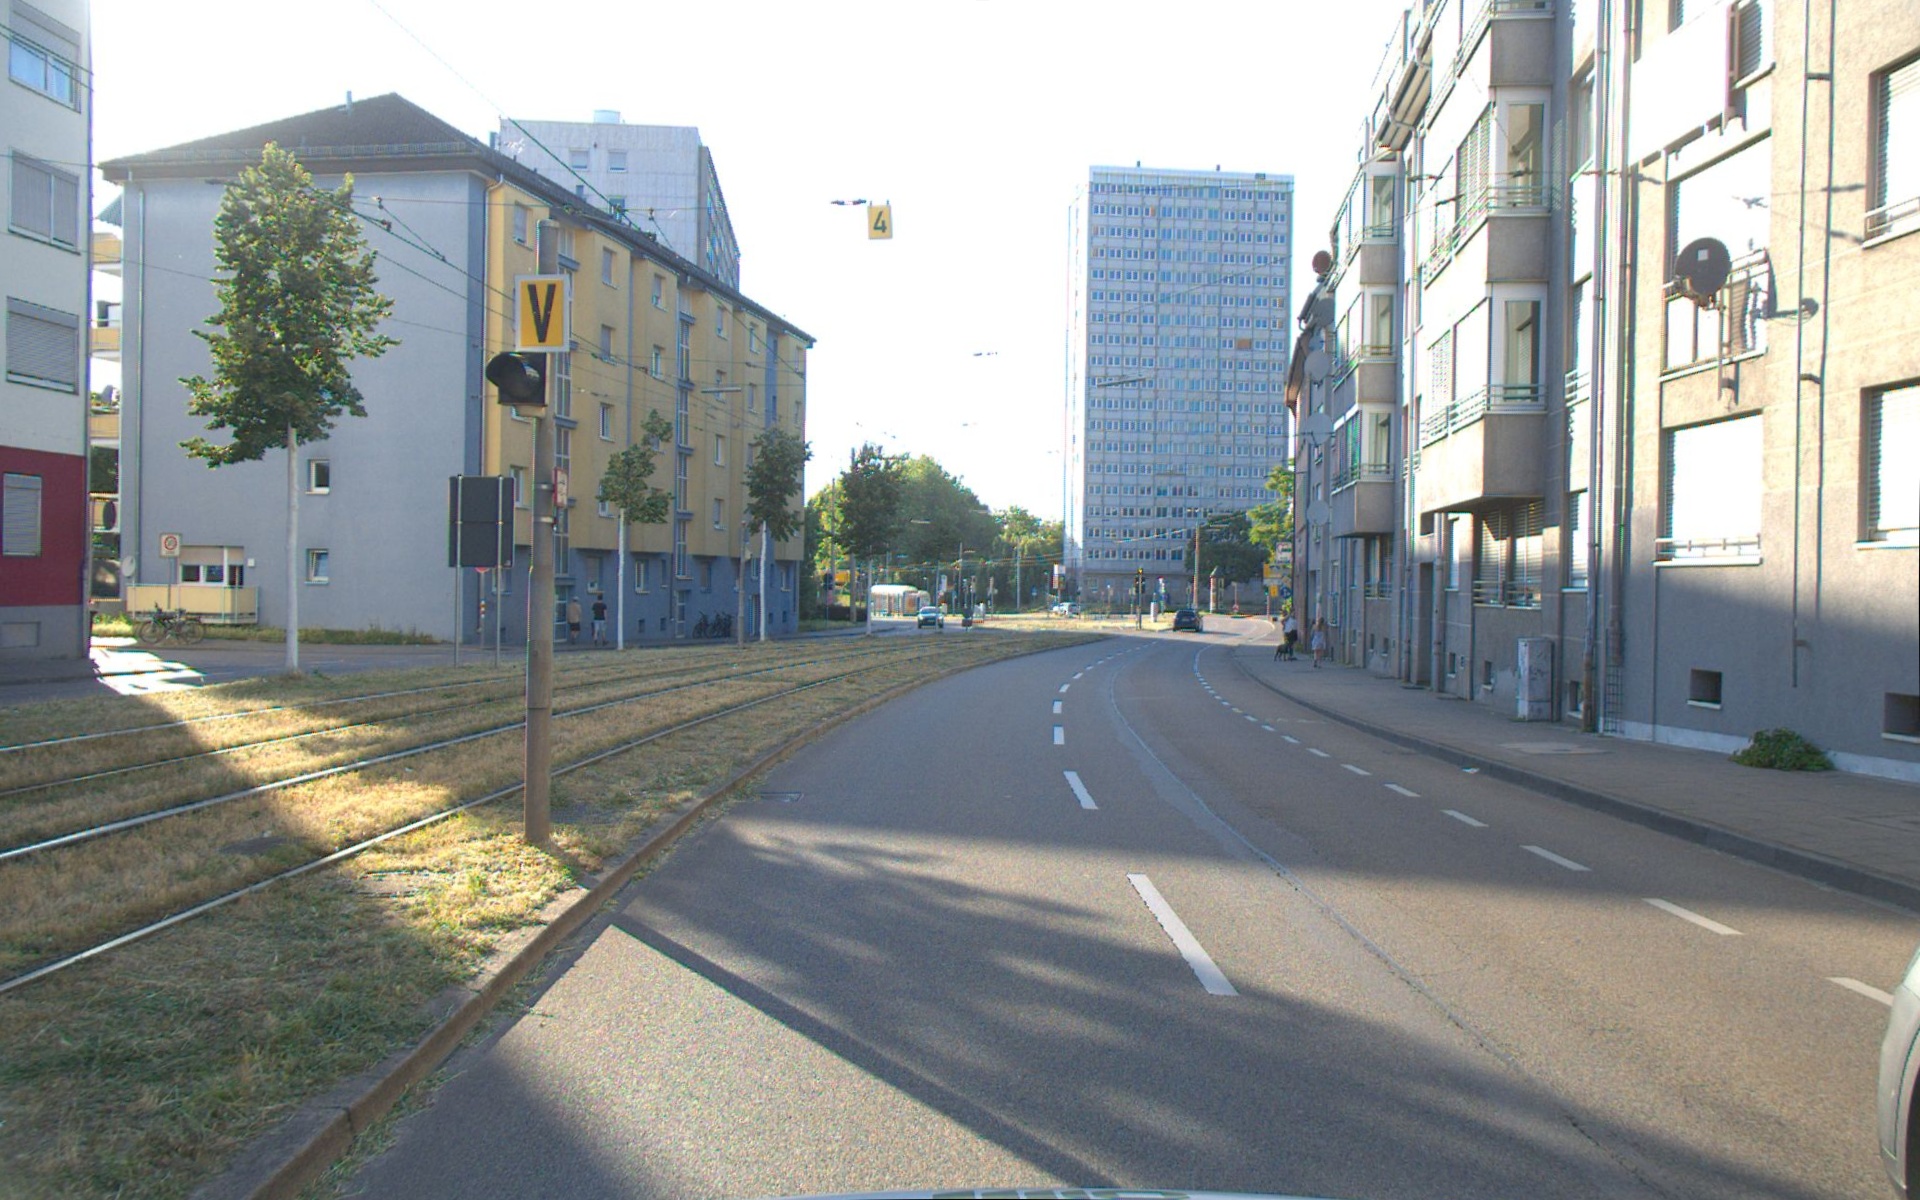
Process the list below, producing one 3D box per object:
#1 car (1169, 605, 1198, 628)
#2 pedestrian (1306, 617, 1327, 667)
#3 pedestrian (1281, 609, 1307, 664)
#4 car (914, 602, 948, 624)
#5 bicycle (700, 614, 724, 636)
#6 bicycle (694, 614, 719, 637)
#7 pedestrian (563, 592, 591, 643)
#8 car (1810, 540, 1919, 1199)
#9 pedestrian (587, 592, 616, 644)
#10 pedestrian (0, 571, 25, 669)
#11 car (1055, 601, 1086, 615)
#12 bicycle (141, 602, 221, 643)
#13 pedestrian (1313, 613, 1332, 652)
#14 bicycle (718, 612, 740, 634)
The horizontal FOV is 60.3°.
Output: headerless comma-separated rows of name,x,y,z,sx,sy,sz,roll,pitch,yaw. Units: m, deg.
car,14.743,1.096,109.121,1.734,1.447,3.859,0,0,10
pedestrian,9.717,1.143,45.080,0.503,1.368,0.609,0,-1,5
pedestrian,11.039,1.200,54.696,0.812,1.803,0.997,0,0,9
car,-2.044,0.956,118.271,1.755,1.495,4.799,-1,-1,8
bicycle,-11.117,1.109,74.287,0.418,0.941,1.913,4,0,10
bicycle,-11.185,1.122,73.007,0.418,0.941,1.913,4,0,10
pedestrian,-13.531,0.612,58.439,0.603,1.723,0.707,5,1,8
car,2.866,0.718,1.826,1.730,1.615,4.068,1,1,0
pedestrian,-12.723,0.631,58.763,0.580,1.803,0.886,5,1,8
pedestrian,-17.111,0.340,29.273,0.600,1.719,0.792,1,0,3
car,12.633,0.944,189.690,1.968,1.557,3.969,1,0,-24
bicycle,-21.738,0.633,46.180,1.918,1.094,0.602,1,0,-9
pedestrian,11.952,1.079,54.518,0.575,1.273,0.585,0,0,9
bicycle,-10.699,1.059,76.764,0.418,0.976,1.913,1,0,10
